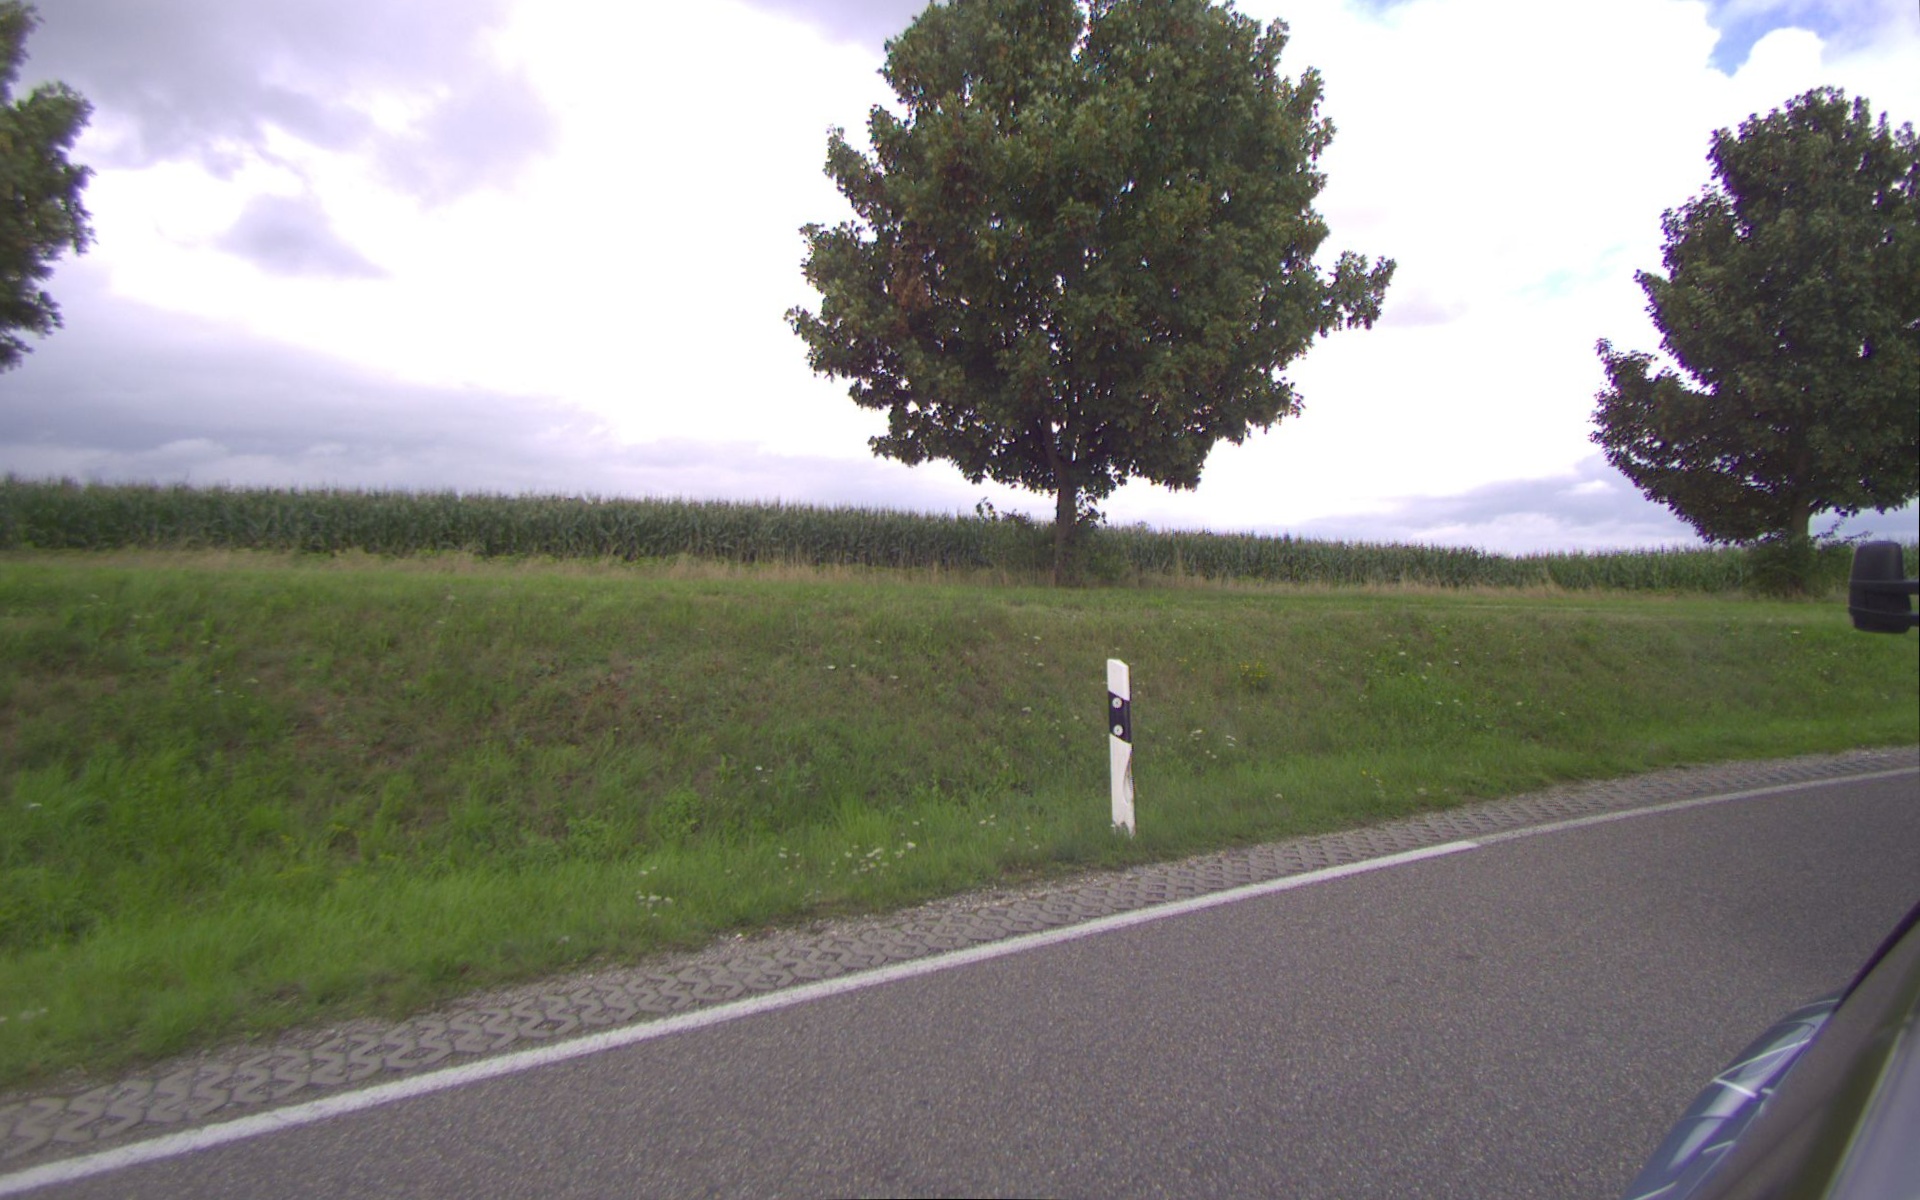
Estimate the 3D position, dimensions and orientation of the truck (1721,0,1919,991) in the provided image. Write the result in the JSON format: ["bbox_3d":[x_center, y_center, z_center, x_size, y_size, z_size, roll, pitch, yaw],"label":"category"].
[{"bbox_3d":[7.256,-0.600,4.660,8.624,3.810,2.842,1,1,-30],"label":"truck"}]
